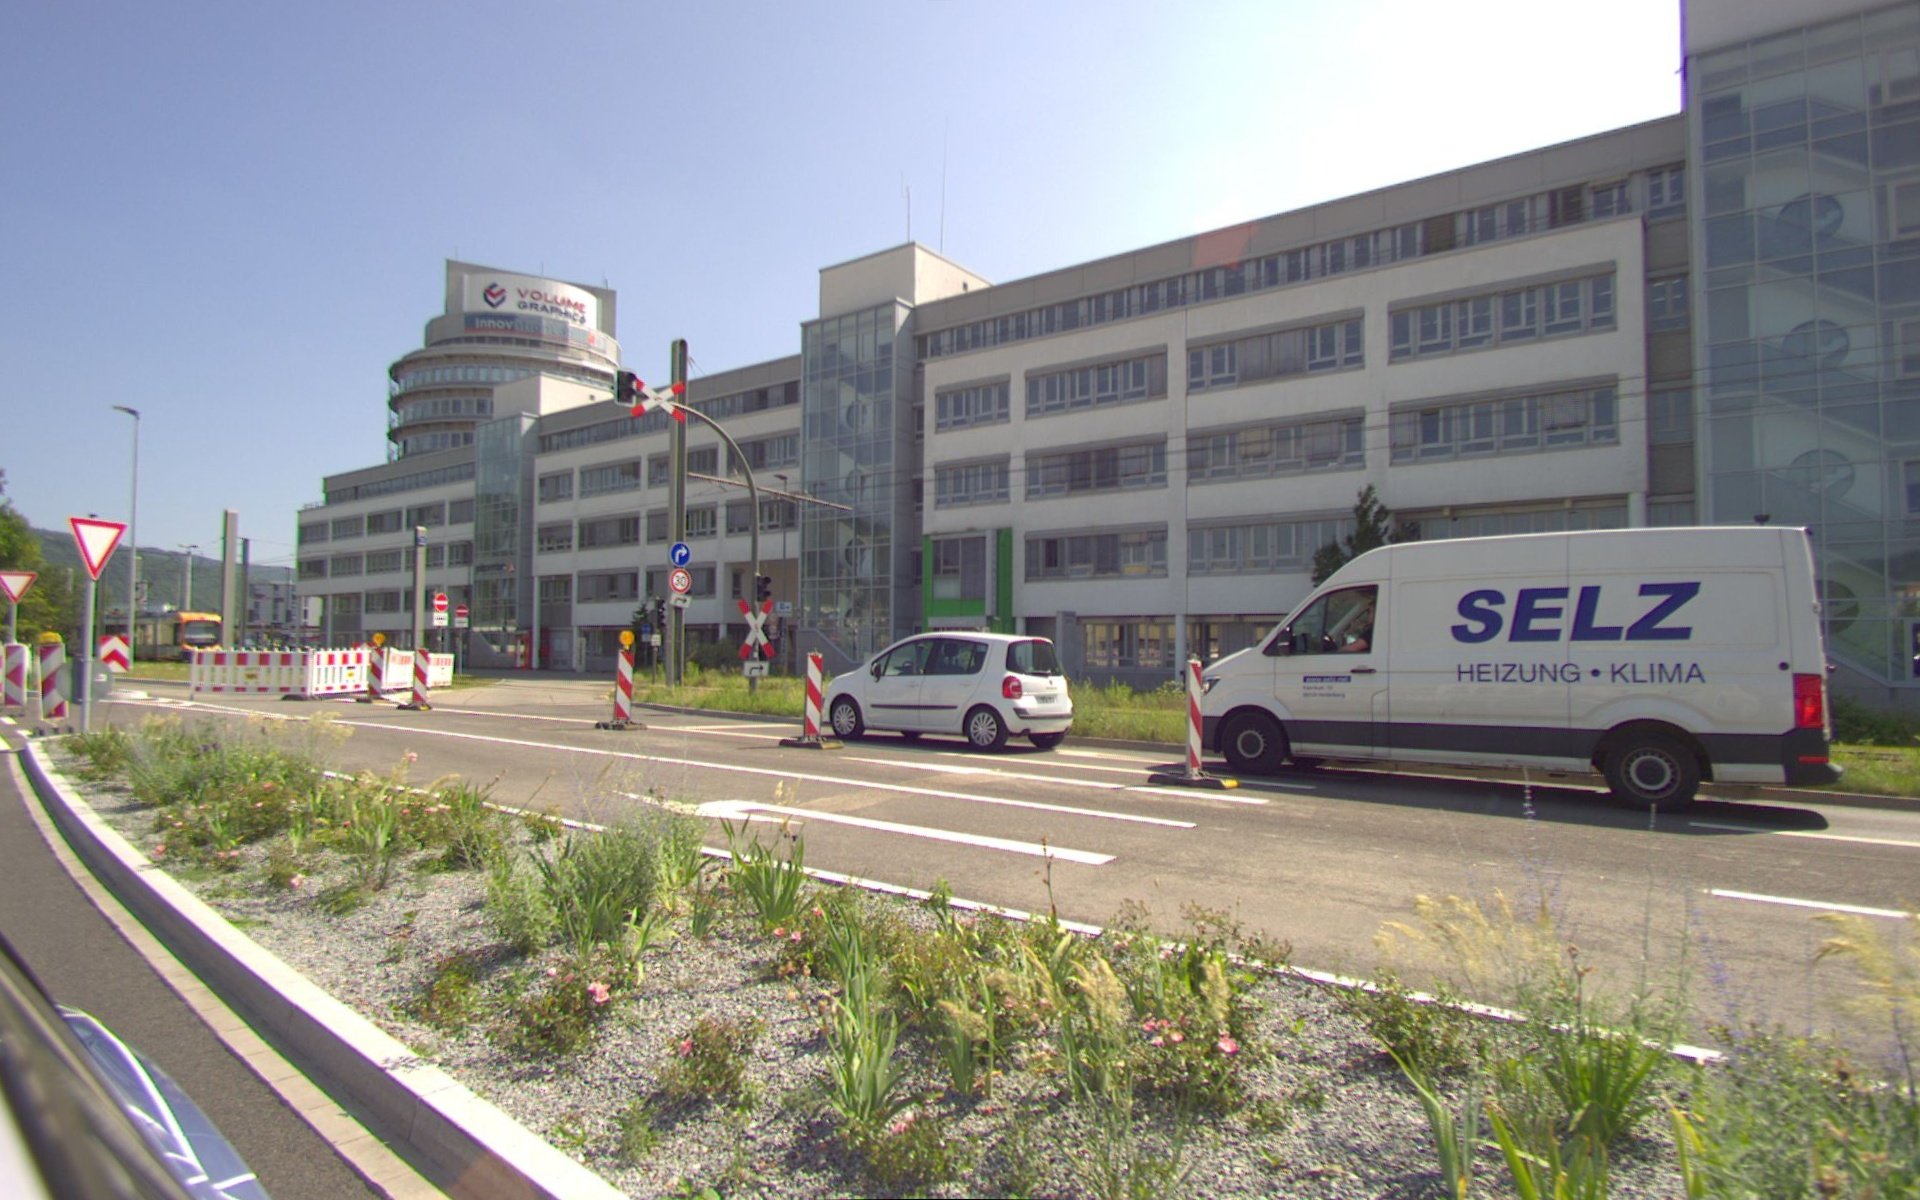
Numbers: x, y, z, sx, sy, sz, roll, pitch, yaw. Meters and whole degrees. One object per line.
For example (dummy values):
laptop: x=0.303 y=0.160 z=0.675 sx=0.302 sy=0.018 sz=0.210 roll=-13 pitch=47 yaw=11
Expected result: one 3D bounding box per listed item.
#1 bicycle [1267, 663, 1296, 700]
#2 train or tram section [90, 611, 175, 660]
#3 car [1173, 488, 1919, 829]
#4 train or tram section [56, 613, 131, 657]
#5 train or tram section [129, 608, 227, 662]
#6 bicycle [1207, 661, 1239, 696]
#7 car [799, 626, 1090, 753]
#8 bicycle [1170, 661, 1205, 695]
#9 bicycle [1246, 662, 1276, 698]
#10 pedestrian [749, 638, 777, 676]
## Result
bicycle: x=11.281 y=2.839 z=35.531 sx=0.437 sy=1.198 sz=1.631 roll=-2 pitch=-2 yaw=37
train or tram section: x=-62.753 y=2.638 z=76.569 sx=11.767 sy=3.477 sz=2.599 roll=-2 pitch=-2 yaw=39
car: x=5.483 y=0.567 z=10.442 sx=6.186 sy=2.598 sz=2.011 roll=-1 pitch=-5 yaw=38
train or tram section: x=-71.946 y=2.886 z=83.938 sx=11.767 sy=3.477 sz=2.599 roll=-2 pitch=-2 yaw=39
train or tram section: x=-53.588 y=2.384 z=69.197 sx=11.767 sy=3.477 sz=2.599 roll=-2 pitch=-2 yaw=39
bicycle: x=9.630 y=2.869 z=37.029 sx=0.438 sy=1.198 sz=1.629 roll=-2 pitch=-2 yaw=42
car: x=-0.293 y=1.210 z=14.305 sx=3.971 sy=1.553 sz=1.565 roll=-2 pitch=-6 yaw=37
bicycle: x=8.514 y=2.908 z=37.864 sx=0.521 sy=1.198 sz=1.629 roll=-2 pitch=-2 yaw=42
bicycle: x=10.743 y=2.828 z=36.077 sx=0.437 sy=1.198 sz=1.631 roll=-2 pitch=-2 yaw=38
pedestrian: x=-9.686 y=2.815 z=49.804 sx=1.106 sy=1.840 sz=0.758 roll=-3 pitch=-2 yaw=36
